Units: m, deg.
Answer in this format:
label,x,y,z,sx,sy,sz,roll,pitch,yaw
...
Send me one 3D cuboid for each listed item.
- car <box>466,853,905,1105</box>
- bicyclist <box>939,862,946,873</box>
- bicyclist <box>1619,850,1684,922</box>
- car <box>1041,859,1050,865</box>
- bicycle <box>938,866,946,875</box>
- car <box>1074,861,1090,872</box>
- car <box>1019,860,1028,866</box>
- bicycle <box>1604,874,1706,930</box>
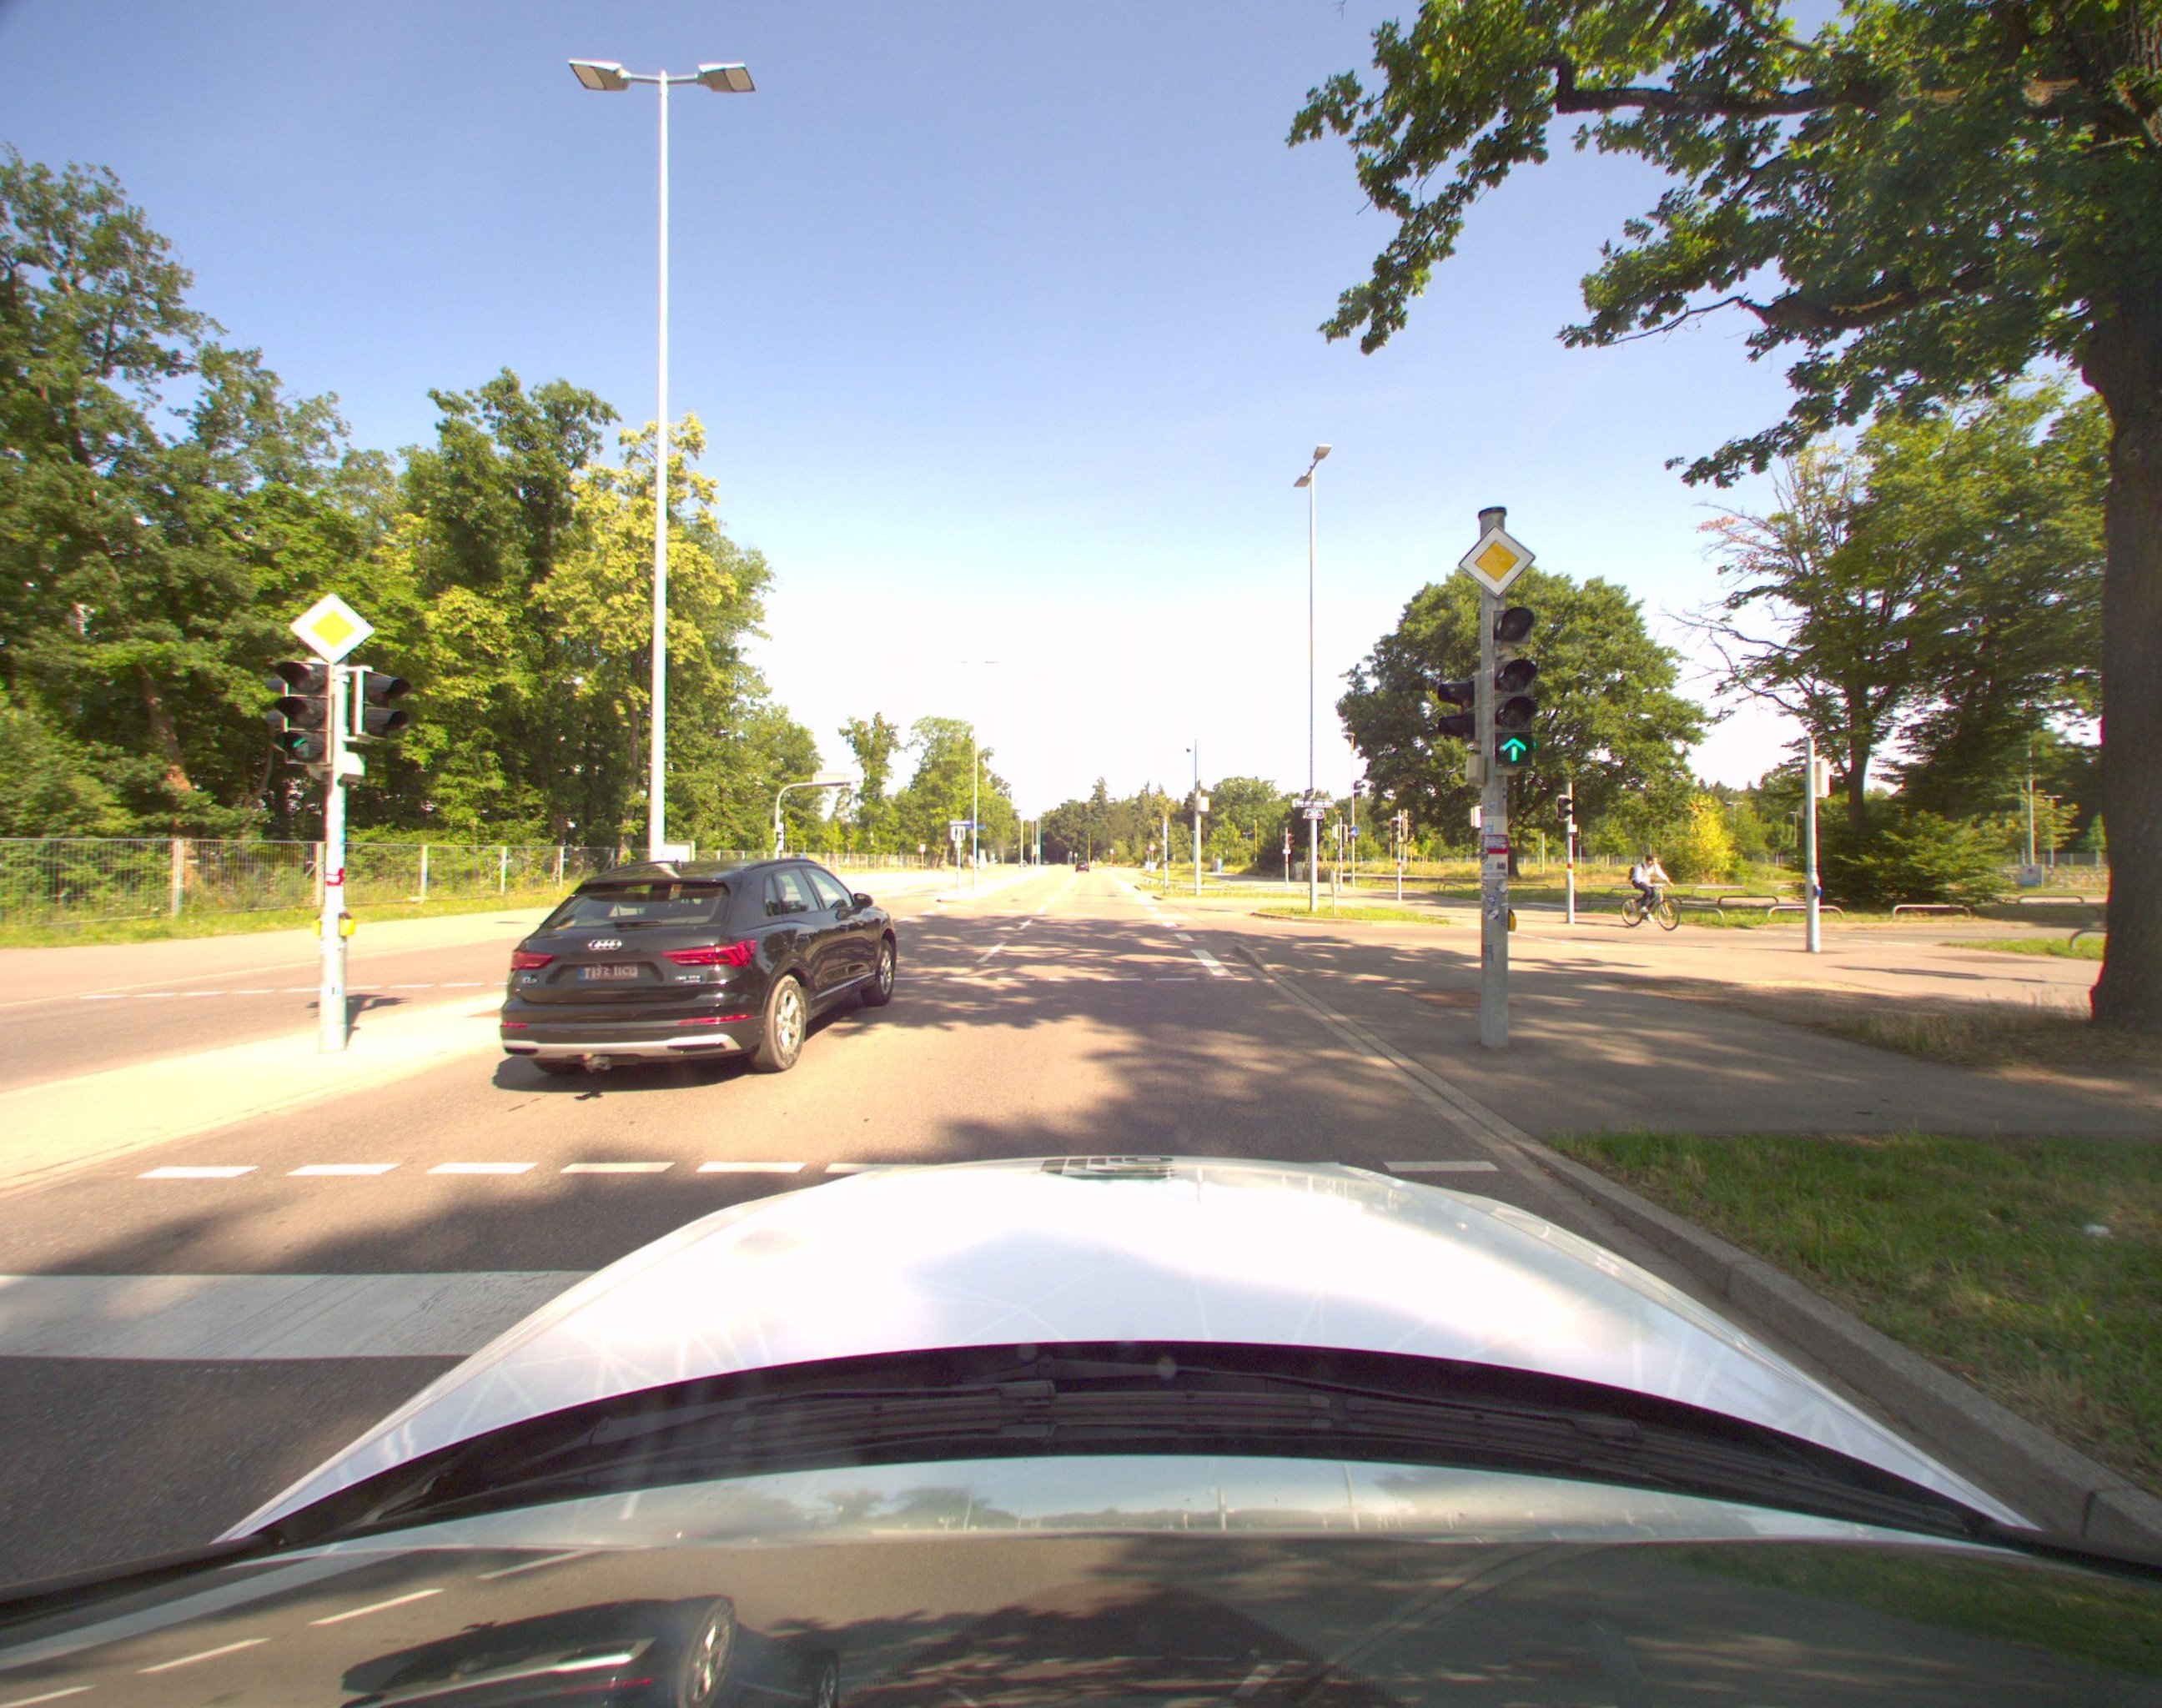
label,x,y,z,sx,sy,sz,roll,pitch,yaw
car,-2.924,0.793,7.154,1.681,1.544,4.150,-1,0,2
bicyclist,-17.732,1.729,104.234,0.658,1.467,1.056,1,-1,-2
bicyclist,13.411,0.740,19.179,0.723,1.639,1.055,0,-1,-8
car,-10.996,2.600,252.092,1.995,1.750,3.983,0,-1,-12
bicycle,-17.758,2.087,104.230,0.658,1.136,1.877,1,0,-2
car,0.108,1.703,108.965,1.936,1.420,4.289,0,0,-2
car,-14.334,2.347,201.711,1.810,1.388,4.149,-2,-1,-8
bicycle,13.414,1.084,19.129,0.723,1.199,2.095,0,0,-8
